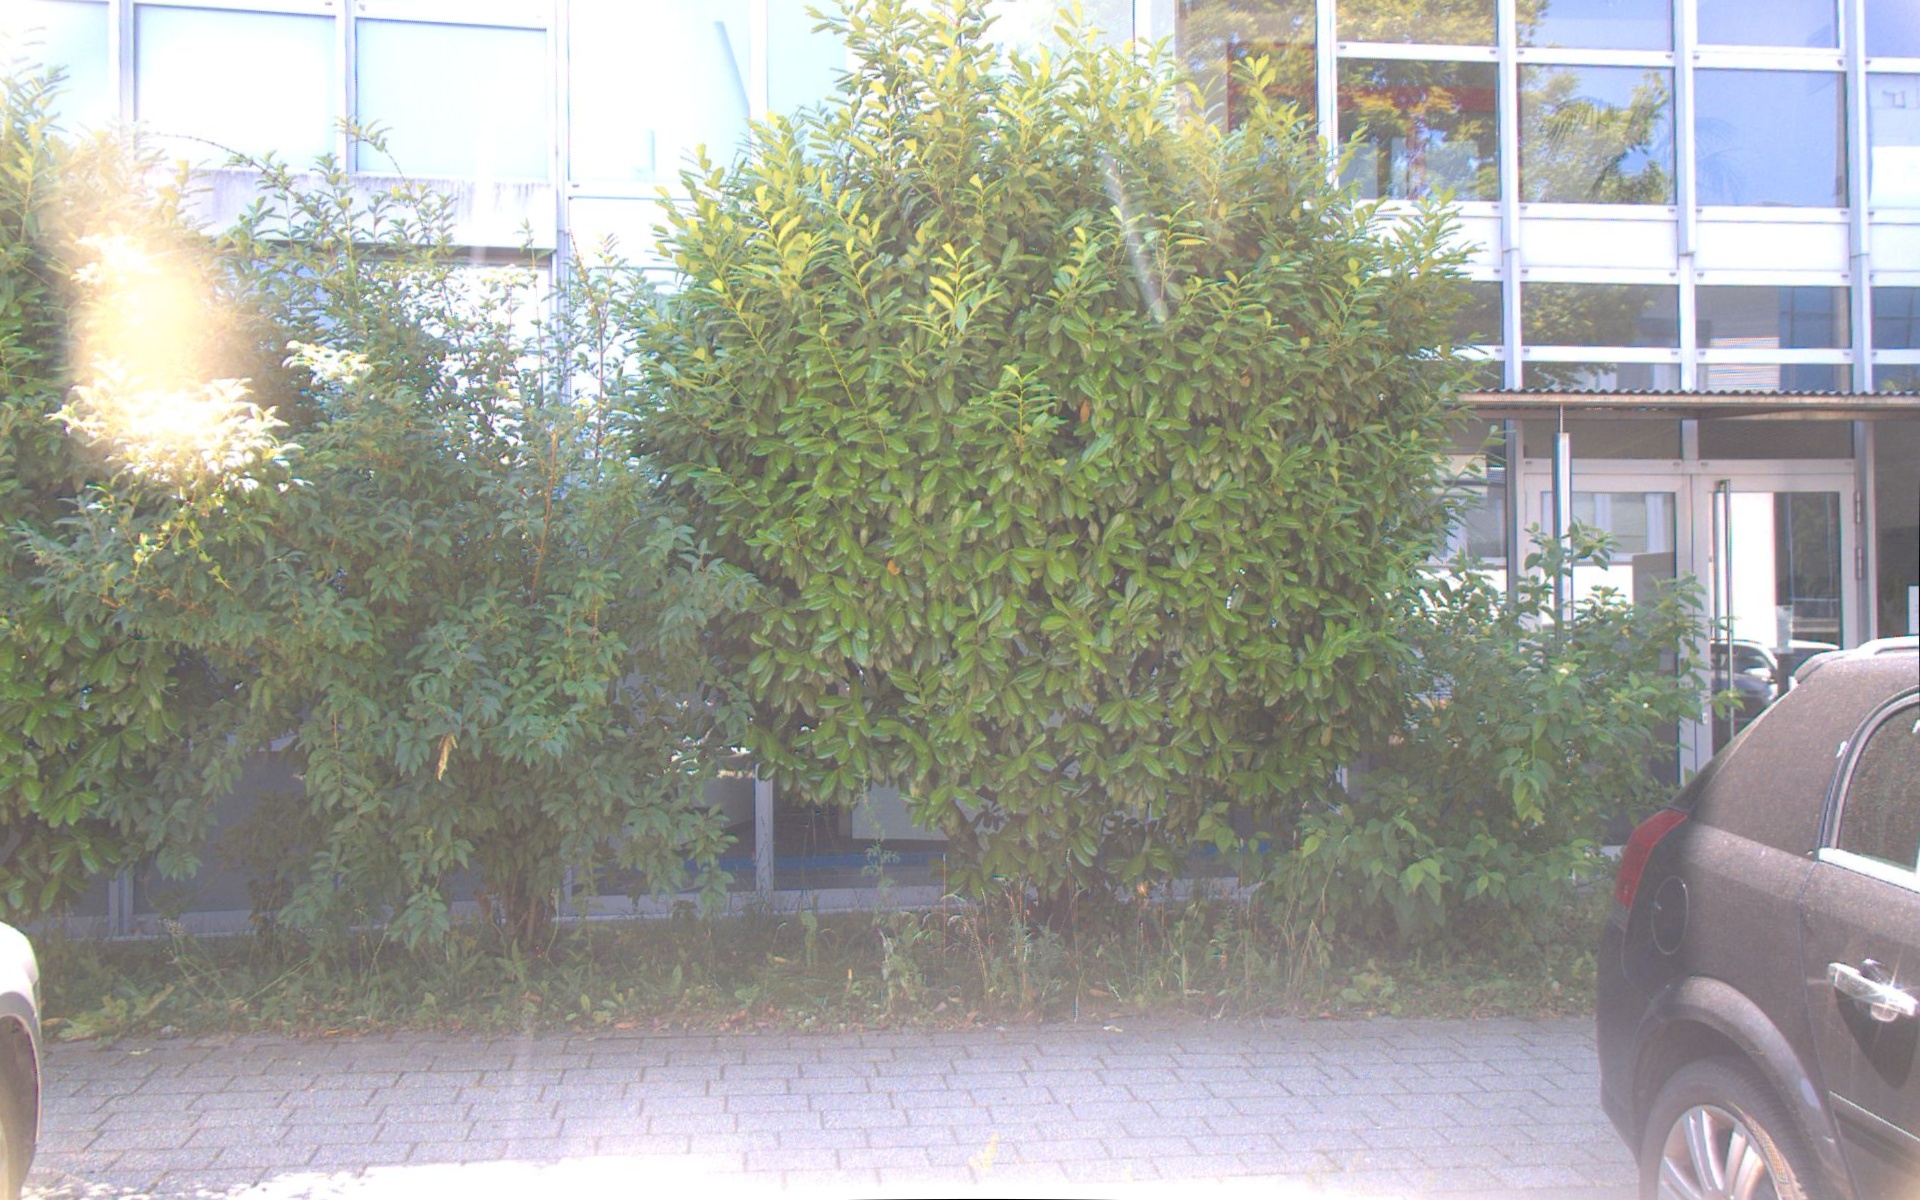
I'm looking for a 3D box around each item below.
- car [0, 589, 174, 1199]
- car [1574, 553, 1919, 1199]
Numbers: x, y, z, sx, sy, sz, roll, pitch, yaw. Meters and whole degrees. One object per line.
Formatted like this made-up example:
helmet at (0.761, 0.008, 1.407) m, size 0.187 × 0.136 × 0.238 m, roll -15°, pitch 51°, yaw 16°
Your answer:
car at (-2.299, 0.714, 1.533) m, size 1.688 × 1.505 × 4.338 m, roll 1°, pitch -1°, yaw -10°
car at (2.507, 0.713, 1.716) m, size 1.724 × 1.576 × 4.560 m, roll 1°, pitch -1°, yaw -5°
